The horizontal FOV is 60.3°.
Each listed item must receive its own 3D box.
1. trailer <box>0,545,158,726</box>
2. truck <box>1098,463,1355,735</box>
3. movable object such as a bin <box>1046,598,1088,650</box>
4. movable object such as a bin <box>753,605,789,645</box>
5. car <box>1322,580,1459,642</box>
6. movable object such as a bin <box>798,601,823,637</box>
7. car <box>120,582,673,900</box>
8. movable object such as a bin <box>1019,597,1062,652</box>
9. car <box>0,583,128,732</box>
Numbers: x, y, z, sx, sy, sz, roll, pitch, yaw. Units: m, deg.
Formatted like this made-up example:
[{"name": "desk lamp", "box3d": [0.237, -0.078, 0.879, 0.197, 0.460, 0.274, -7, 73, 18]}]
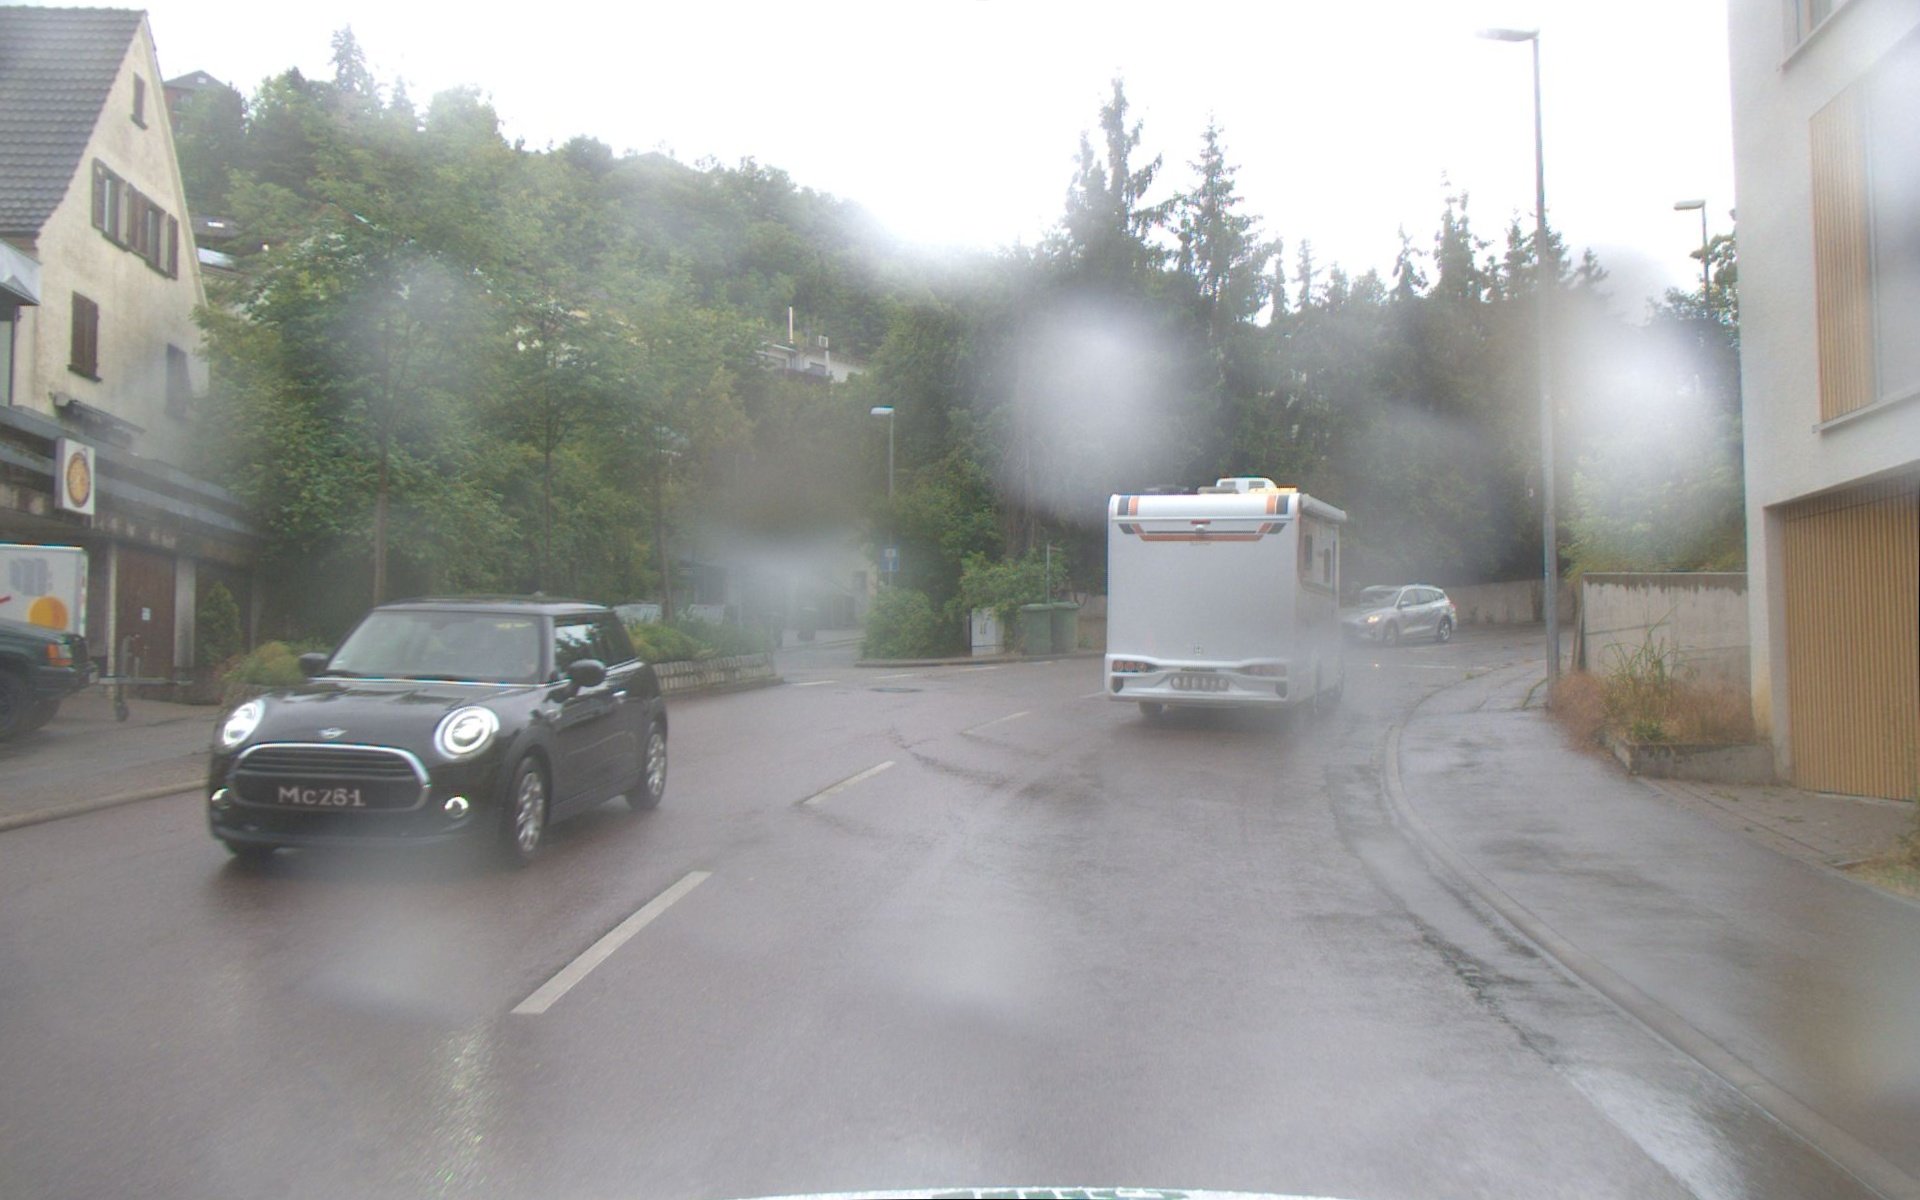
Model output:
[{"name": "trailer", "box3d": [-12.047, 0.432, 20.337, 3.901, 2.139, 1.936, -1, -1, -27]}, {"name": "truck", "box3d": [3.554, -0.029, 20.791, 2.462, 2.867, 6.205, 1, 0, 16]}, {"name": "movable object such as a bin", "box3d": [2.293, 0.515, 35.412, 0.698, 1.107, 0.554, 1, 0, -34]}, {"name": "movable object such as a bin", "box3d": [-5.927, 0.781, 51.902, 0.834, 1.219, 0.933, 1, 0, 14]}, {"name": "car", "box3d": [10.627, 0.255, 40.647, 1.571, 1.438, 4.213, 1, 1, 41]}, {"name": "movable object such as a bin", "box3d": [-5.276, 0.680, 58.544, 0.690, 1.244, 0.591, 1, 0, 17]}, {"name": "car", "box3d": [-2.936, 0.643, 9.481, 1.641, 1.430, 3.680, 1, 0, 5]}, {"name": "movable object such as a bin", "box3d": [1.707, 0.515, 35.011, 0.660, 1.159, 0.618, 1, 0, -34]}, {"name": "car", "box3d": [-10.870, 0.570, 17.567, 3.280, 1.511, 1.832, 1, 0, -16]}]
